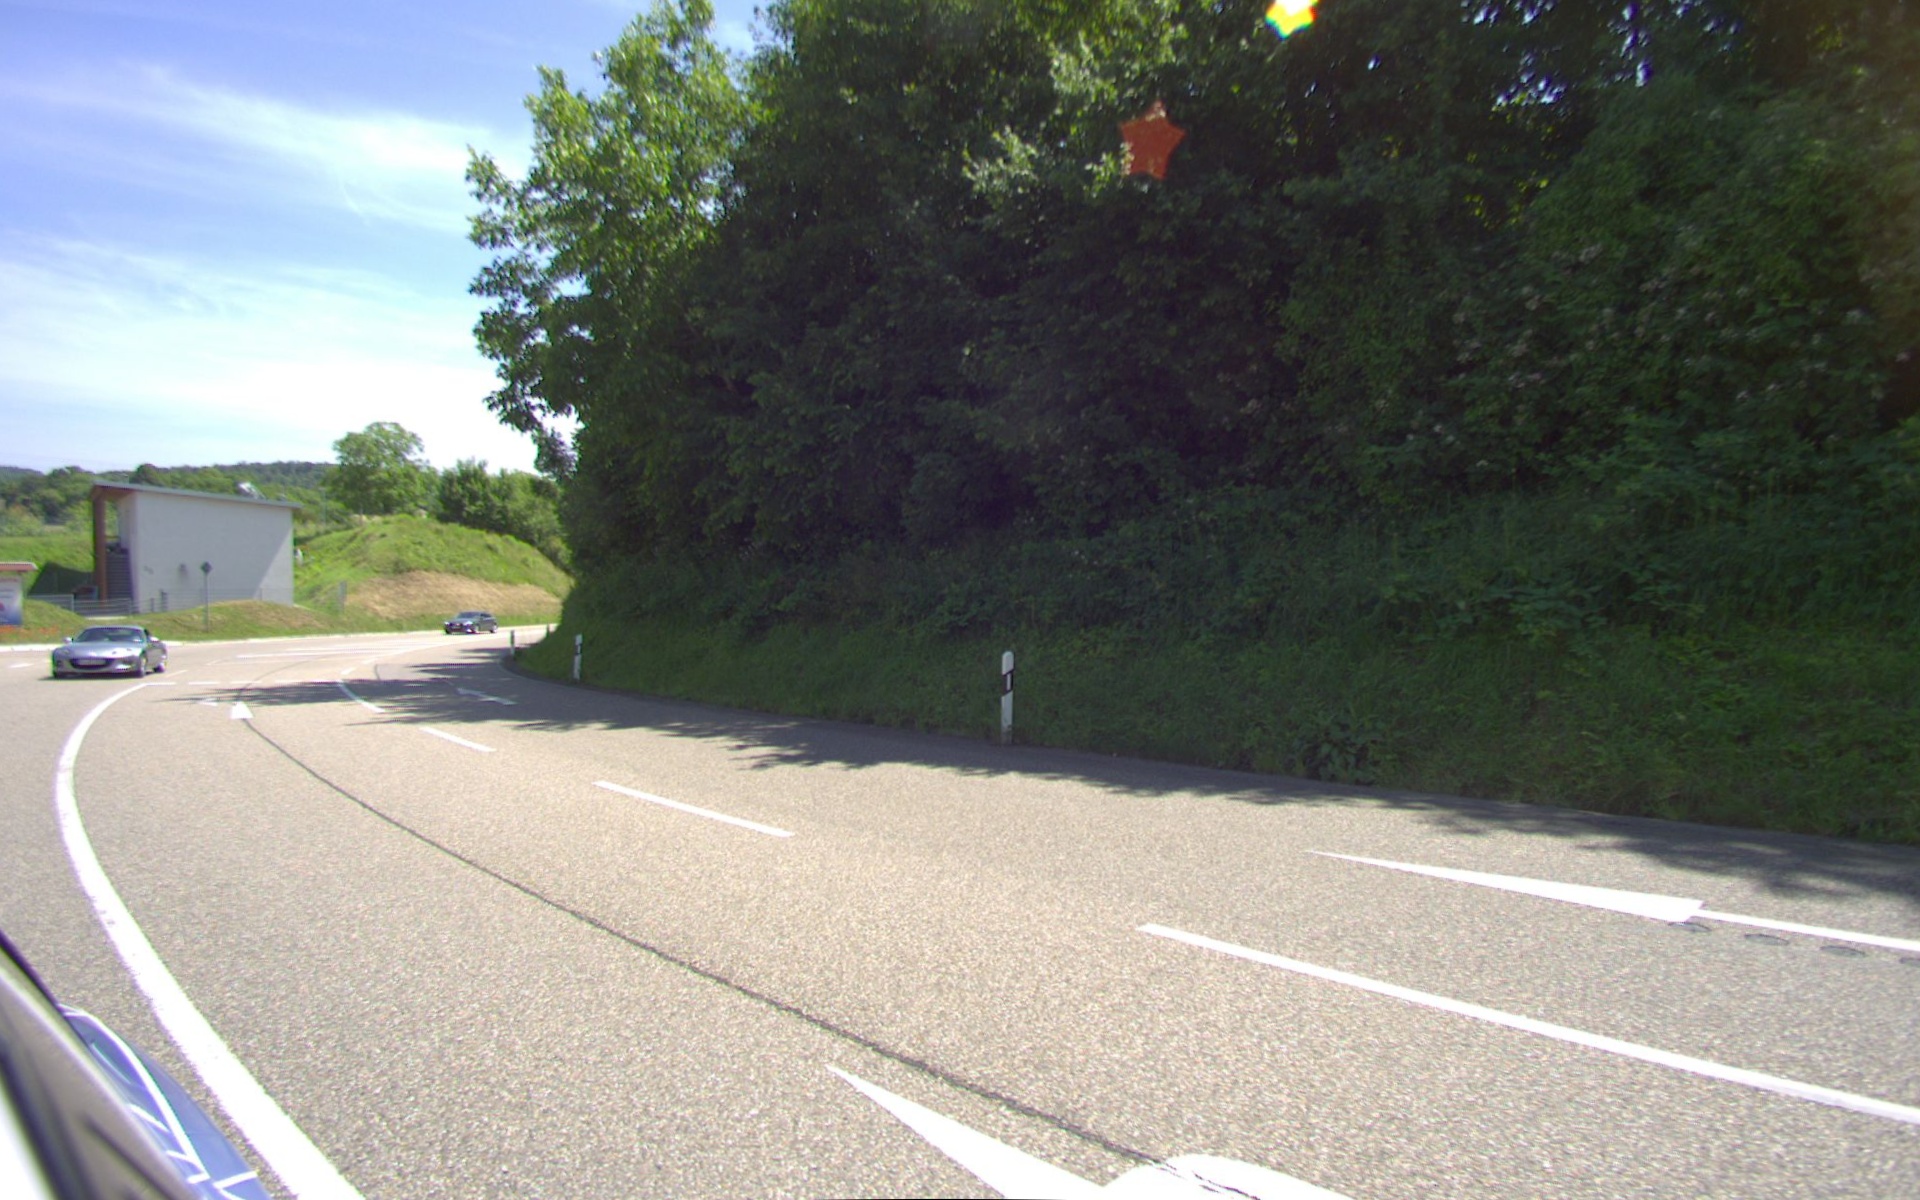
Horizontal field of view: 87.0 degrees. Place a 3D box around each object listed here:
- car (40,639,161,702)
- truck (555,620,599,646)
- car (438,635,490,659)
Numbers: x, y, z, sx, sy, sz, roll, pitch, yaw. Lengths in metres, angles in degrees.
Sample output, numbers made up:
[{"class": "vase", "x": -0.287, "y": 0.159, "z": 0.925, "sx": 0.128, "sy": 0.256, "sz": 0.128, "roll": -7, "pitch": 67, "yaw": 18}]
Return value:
[{"class": "car", "x": -20.936, "y": 1.679, "z": 24.788, "sx": 1.620, "sy": 1.332, "sz": 3.449, "roll": 2, "pitch": -2, "yaw": -30}, {"class": "truck", "x": -30.723, "y": 2.618, "z": 81.378, "sx": 2.041, "sy": 2.028, "sz": 5.251, "roll": 0, "pitch": -1, "yaw": -6}, {"class": "car", "x": -29.910, "y": 2.793, "z": 61.175, "sx": 1.728, "sy": 1.298, "sz": 4.154, "roll": 3, "pitch": -2, "yaw": -11}]
